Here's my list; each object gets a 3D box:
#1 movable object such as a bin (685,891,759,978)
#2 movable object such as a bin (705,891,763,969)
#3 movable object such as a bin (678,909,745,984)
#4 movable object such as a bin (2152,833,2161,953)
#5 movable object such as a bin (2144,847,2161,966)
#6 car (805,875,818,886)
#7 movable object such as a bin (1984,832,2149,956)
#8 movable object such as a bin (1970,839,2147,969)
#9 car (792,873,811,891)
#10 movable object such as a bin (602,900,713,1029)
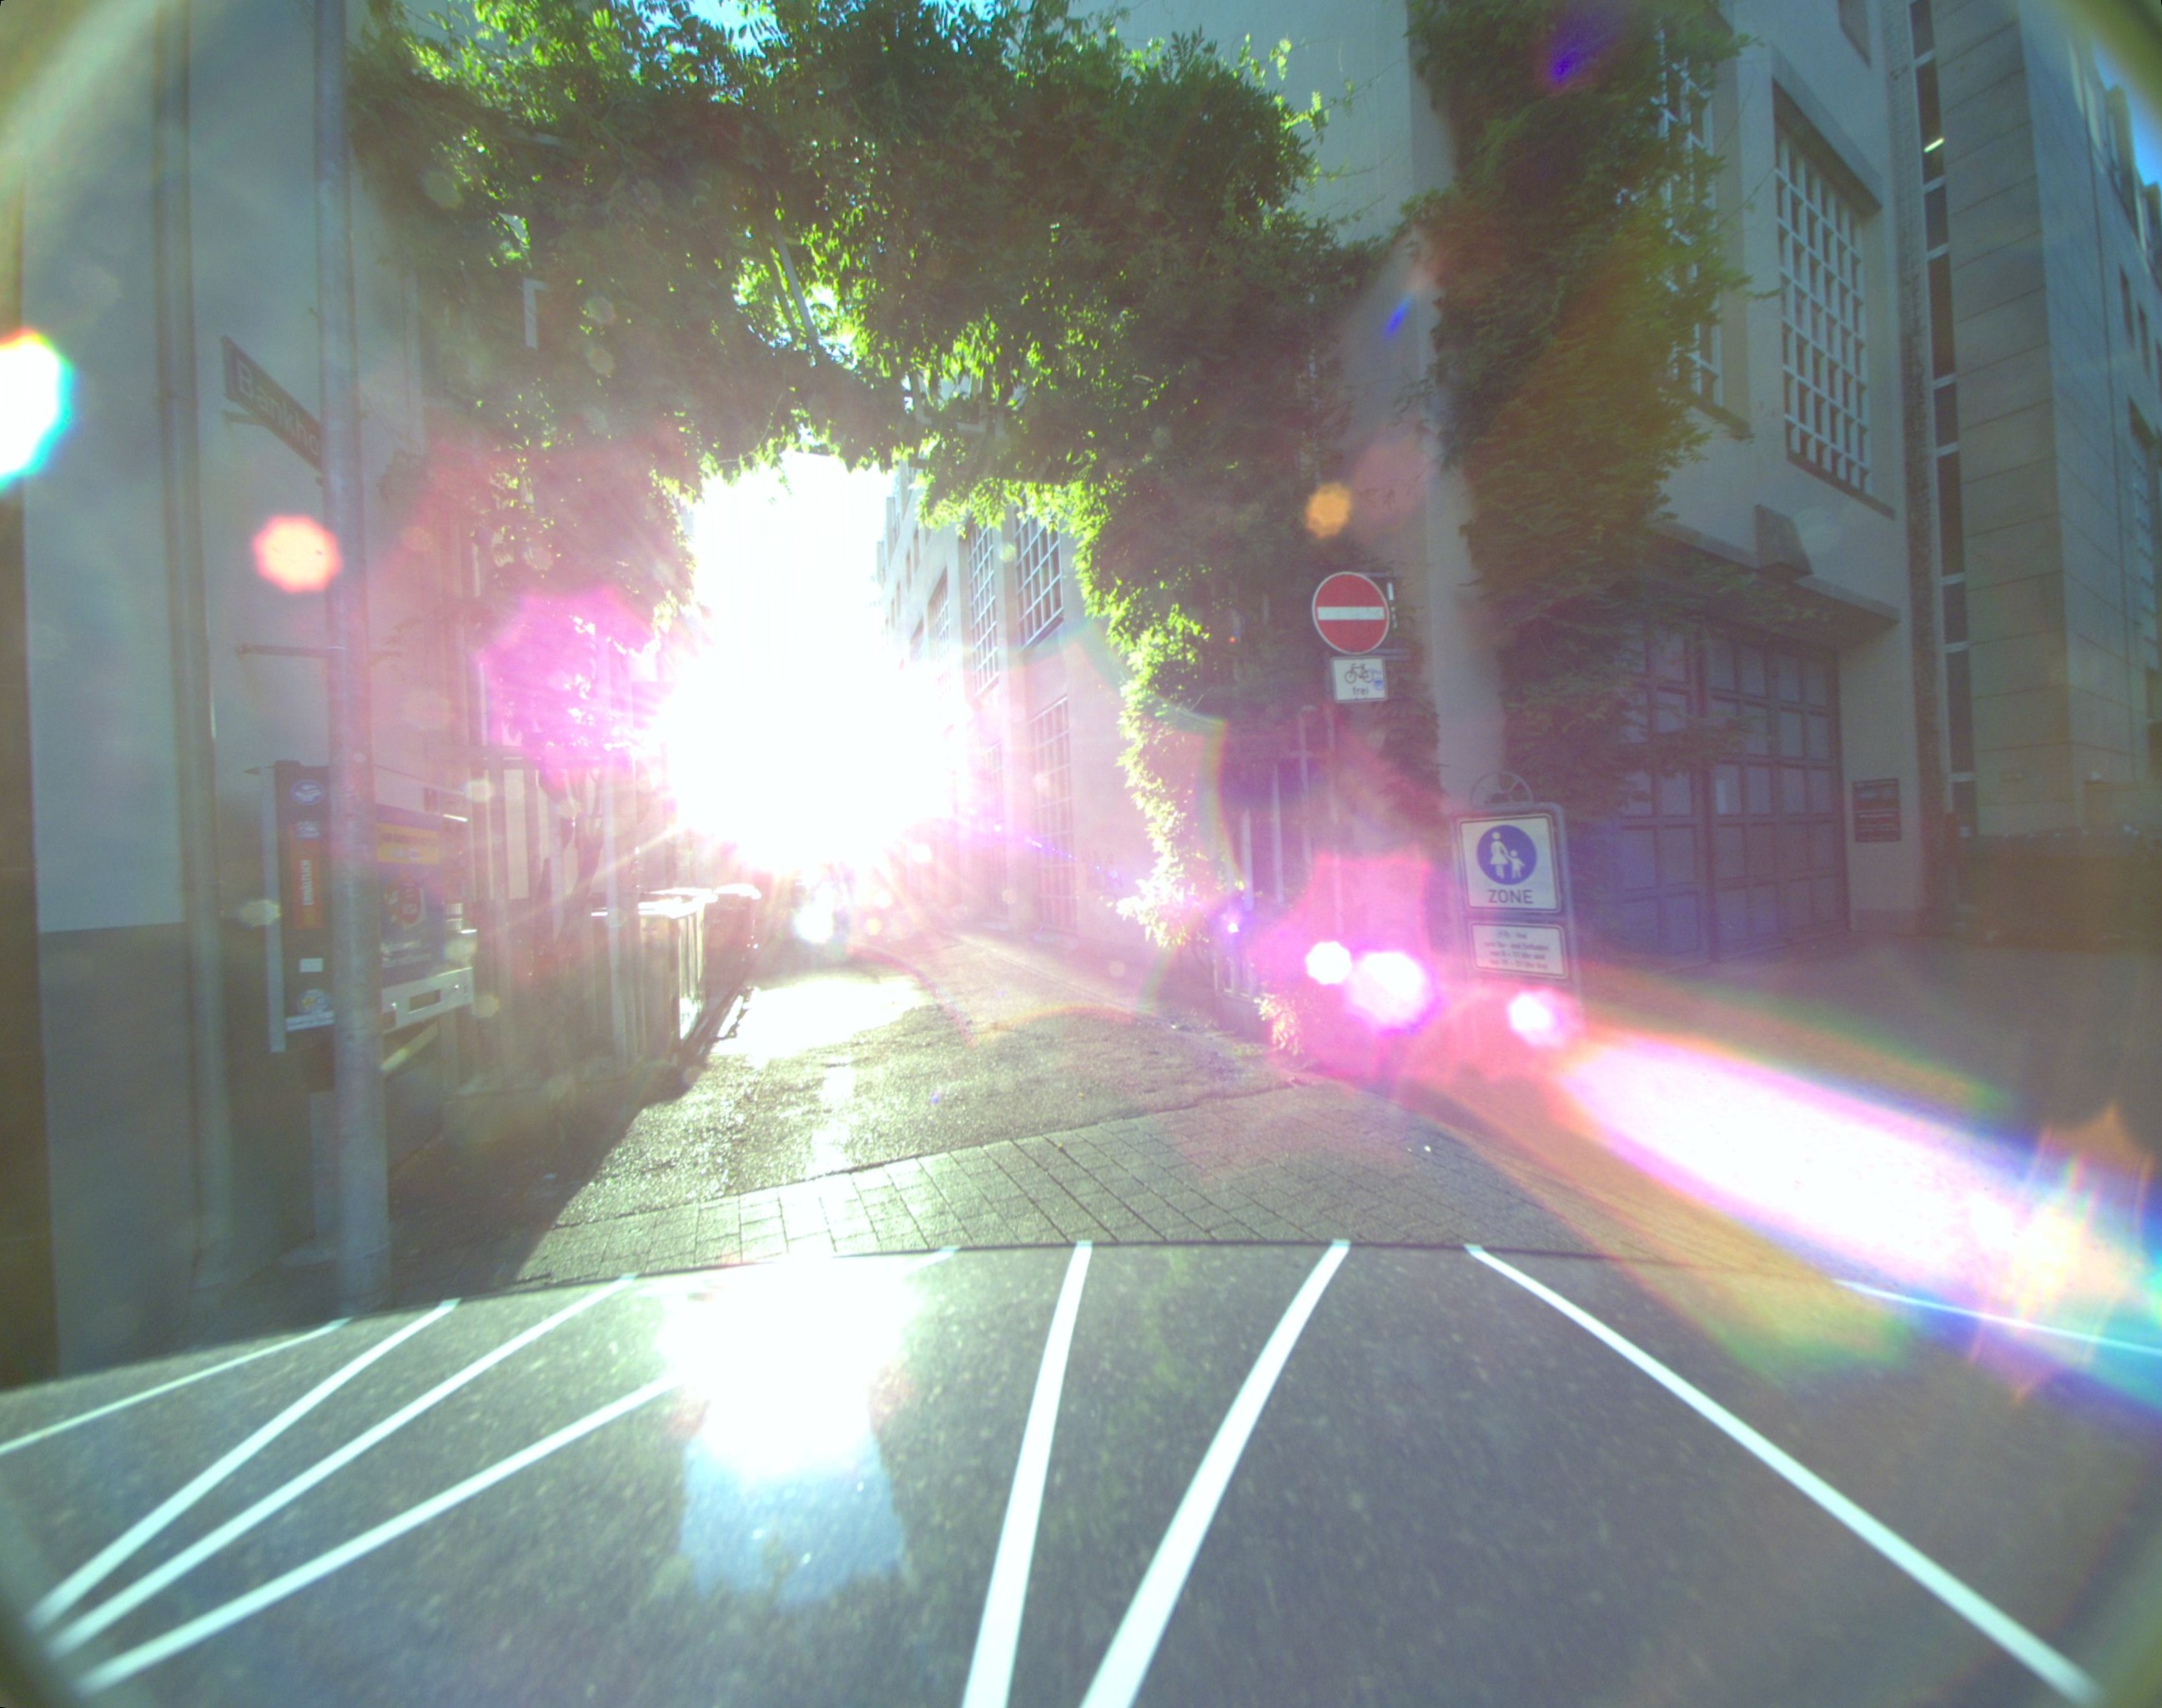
[{"bbox_3d":[-6.193,1.353,13.187,1.069,1.358,1.340,-1,-1,-21],"label":"movable object such as a bin"},{"bbox_3d":[-6.632,1.412,14.519,0.941,1.358,1.339,-1,-1,-25],"label":"movable object such as a bin"},{"bbox_3d":[-5.821,1.437,12.017,0.873,1.068,0.737,-1,-1,-21],"label":"movable object such as a bin"},{"bbox_3d":[14.066,0.482,9.137,1.170,1.459,1.274,-2,3,-32],"label":"movable object such as a bin"},{"bbox_3d":[12.982,0.605,8.462,1.170,1.322,1.229,-2,3,-32],"label":"movable object such as a bin"},{"bbox_3d":[-51.418,5.045,144.855,2.001,1.805,3.994,-5,0,-21],"label":"car"},{"bbox_3d":[12.990,0.478,10.037,1.170,1.479,1.229,-2,1,-32],"label":"movable object such as a bin"},{"bbox_3d":[11.992,0.560,9.338,1.170,1.429,1.229,-2,1,-32],"label":"movable object such as a bin"},{"bbox_3d":[-30.254,3.026,82.312,1.767,1.756,4.743,-5,0,-19],"label":"car"},{"bbox_3d":[-4.819,1.206,8.749,0.839,1.297,1.288,-1,-1,-16],"label":"movable object such as a bin"}]
